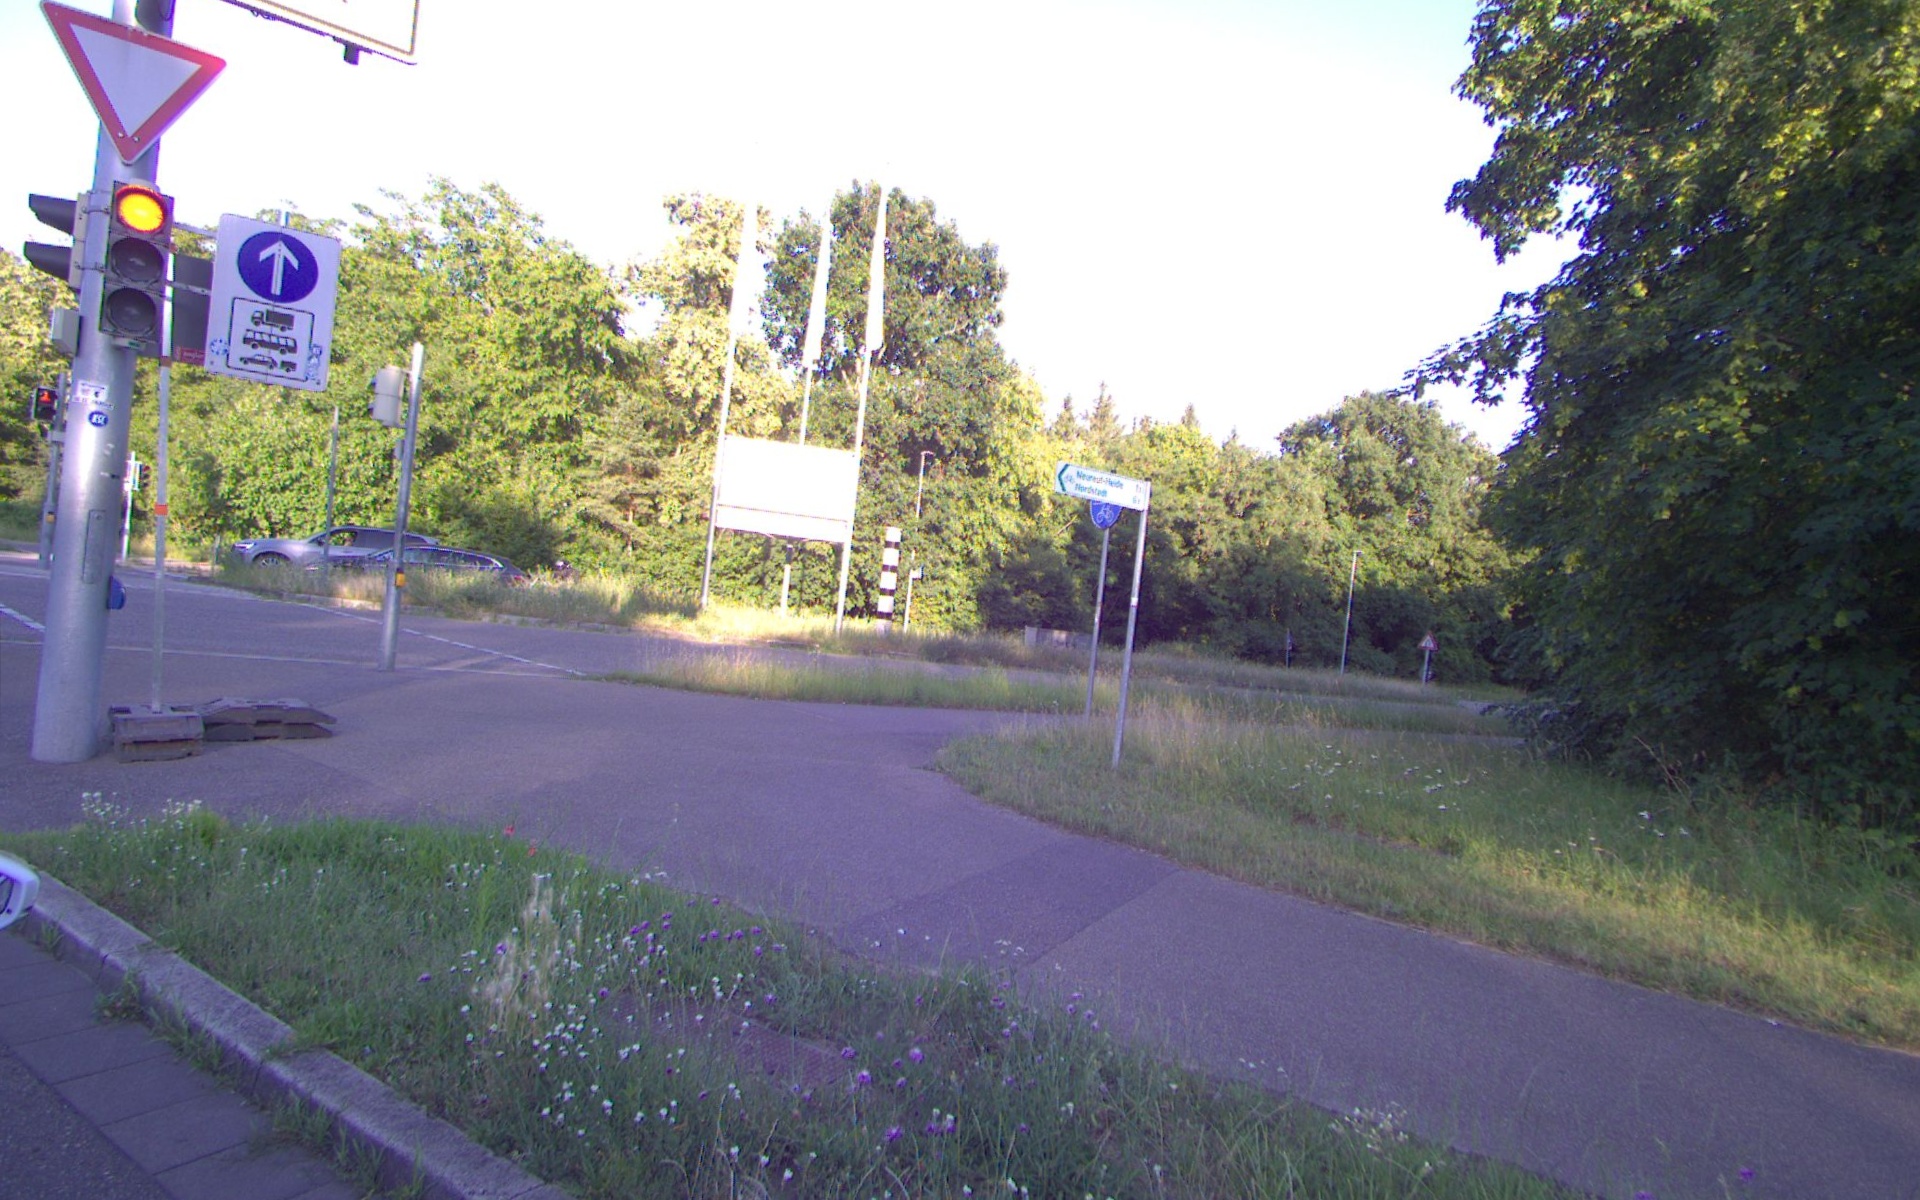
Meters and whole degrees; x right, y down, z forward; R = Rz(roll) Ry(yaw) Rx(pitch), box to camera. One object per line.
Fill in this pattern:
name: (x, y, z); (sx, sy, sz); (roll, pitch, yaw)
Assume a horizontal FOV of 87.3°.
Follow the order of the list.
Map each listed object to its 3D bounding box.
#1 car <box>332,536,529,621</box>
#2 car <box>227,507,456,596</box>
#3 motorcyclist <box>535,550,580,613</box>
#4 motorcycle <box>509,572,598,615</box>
car: (-12.538, -0.496, 23.900); (3.840, 1.507, 1.754); (7, -1, -36)
car: (-15.917, -1.206, 25.999); (4.790, 1.618, 1.980); (7, 0, -37)
motorcyclist: (-11.227, -0.515, 28.041); (0.881, 1.614, 0.648); (6, 0, -37)
motorcycle: (-11.313, -0.178, 28.017); (2.133, 0.921, 0.655); (7, 0, -37)
